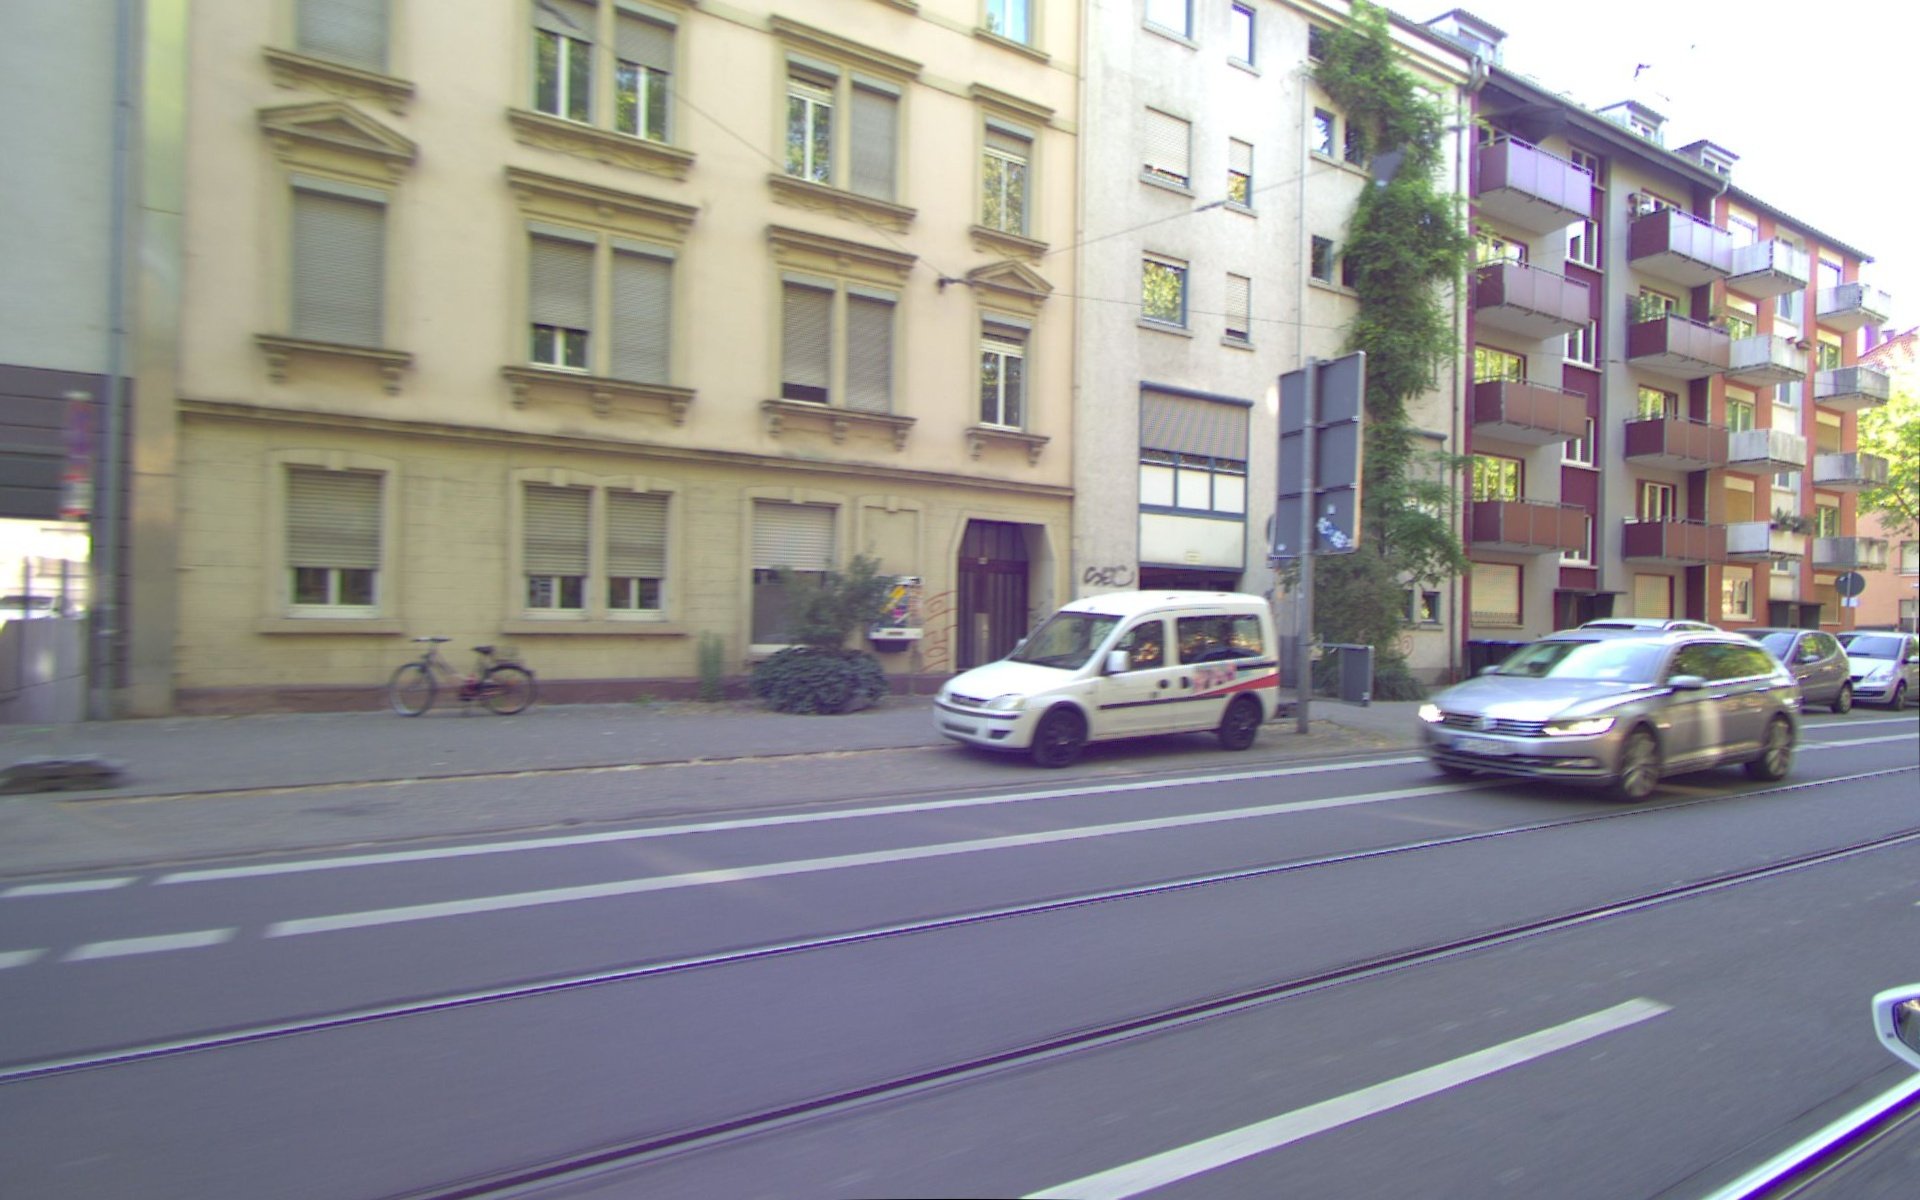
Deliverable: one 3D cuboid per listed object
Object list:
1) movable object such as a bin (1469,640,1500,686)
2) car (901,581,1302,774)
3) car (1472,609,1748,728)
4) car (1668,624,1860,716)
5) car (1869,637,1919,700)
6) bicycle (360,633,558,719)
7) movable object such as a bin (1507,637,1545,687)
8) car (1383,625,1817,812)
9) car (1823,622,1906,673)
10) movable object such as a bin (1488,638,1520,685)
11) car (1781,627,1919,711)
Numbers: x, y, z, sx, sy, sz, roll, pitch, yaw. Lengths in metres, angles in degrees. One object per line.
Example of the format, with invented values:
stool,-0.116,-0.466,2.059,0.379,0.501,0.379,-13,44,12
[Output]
movable object such as a bin,12.532,1.489,24.007,0.486,1.069,0.458,1,0,-30
car,1.701,0.760,11.394,4.424,1.794,1.778,1,1,-34
car,10.891,1.084,16.741,4.827,1.670,1.942,2,0,-32
car,15.577,1.319,19.426,3.735,1.592,1.619,2,-1,-29
car,24.423,1.690,24.467,4.804,1.414,1.943,2,2,-30
bicycle,-6.147,0.926,12.446,2.105,0.984,0.646,1,1,-20
movable object such as a bin,13.050,1.430,23.174,0.492,1.114,0.576,1,0,-30
car,6.434,0.999,9.943,4.663,1.465,1.786,1,-1,-32
car,41.272,2.130,45.949,1.965,2.151,4.713,2,-1,31
movable object such as a bin,12.783,1.434,23.616,0.486,1.069,0.458,1,0,-30
car,19.878,1.451,21.978,3.962,1.608,1.809,2,0,-33
